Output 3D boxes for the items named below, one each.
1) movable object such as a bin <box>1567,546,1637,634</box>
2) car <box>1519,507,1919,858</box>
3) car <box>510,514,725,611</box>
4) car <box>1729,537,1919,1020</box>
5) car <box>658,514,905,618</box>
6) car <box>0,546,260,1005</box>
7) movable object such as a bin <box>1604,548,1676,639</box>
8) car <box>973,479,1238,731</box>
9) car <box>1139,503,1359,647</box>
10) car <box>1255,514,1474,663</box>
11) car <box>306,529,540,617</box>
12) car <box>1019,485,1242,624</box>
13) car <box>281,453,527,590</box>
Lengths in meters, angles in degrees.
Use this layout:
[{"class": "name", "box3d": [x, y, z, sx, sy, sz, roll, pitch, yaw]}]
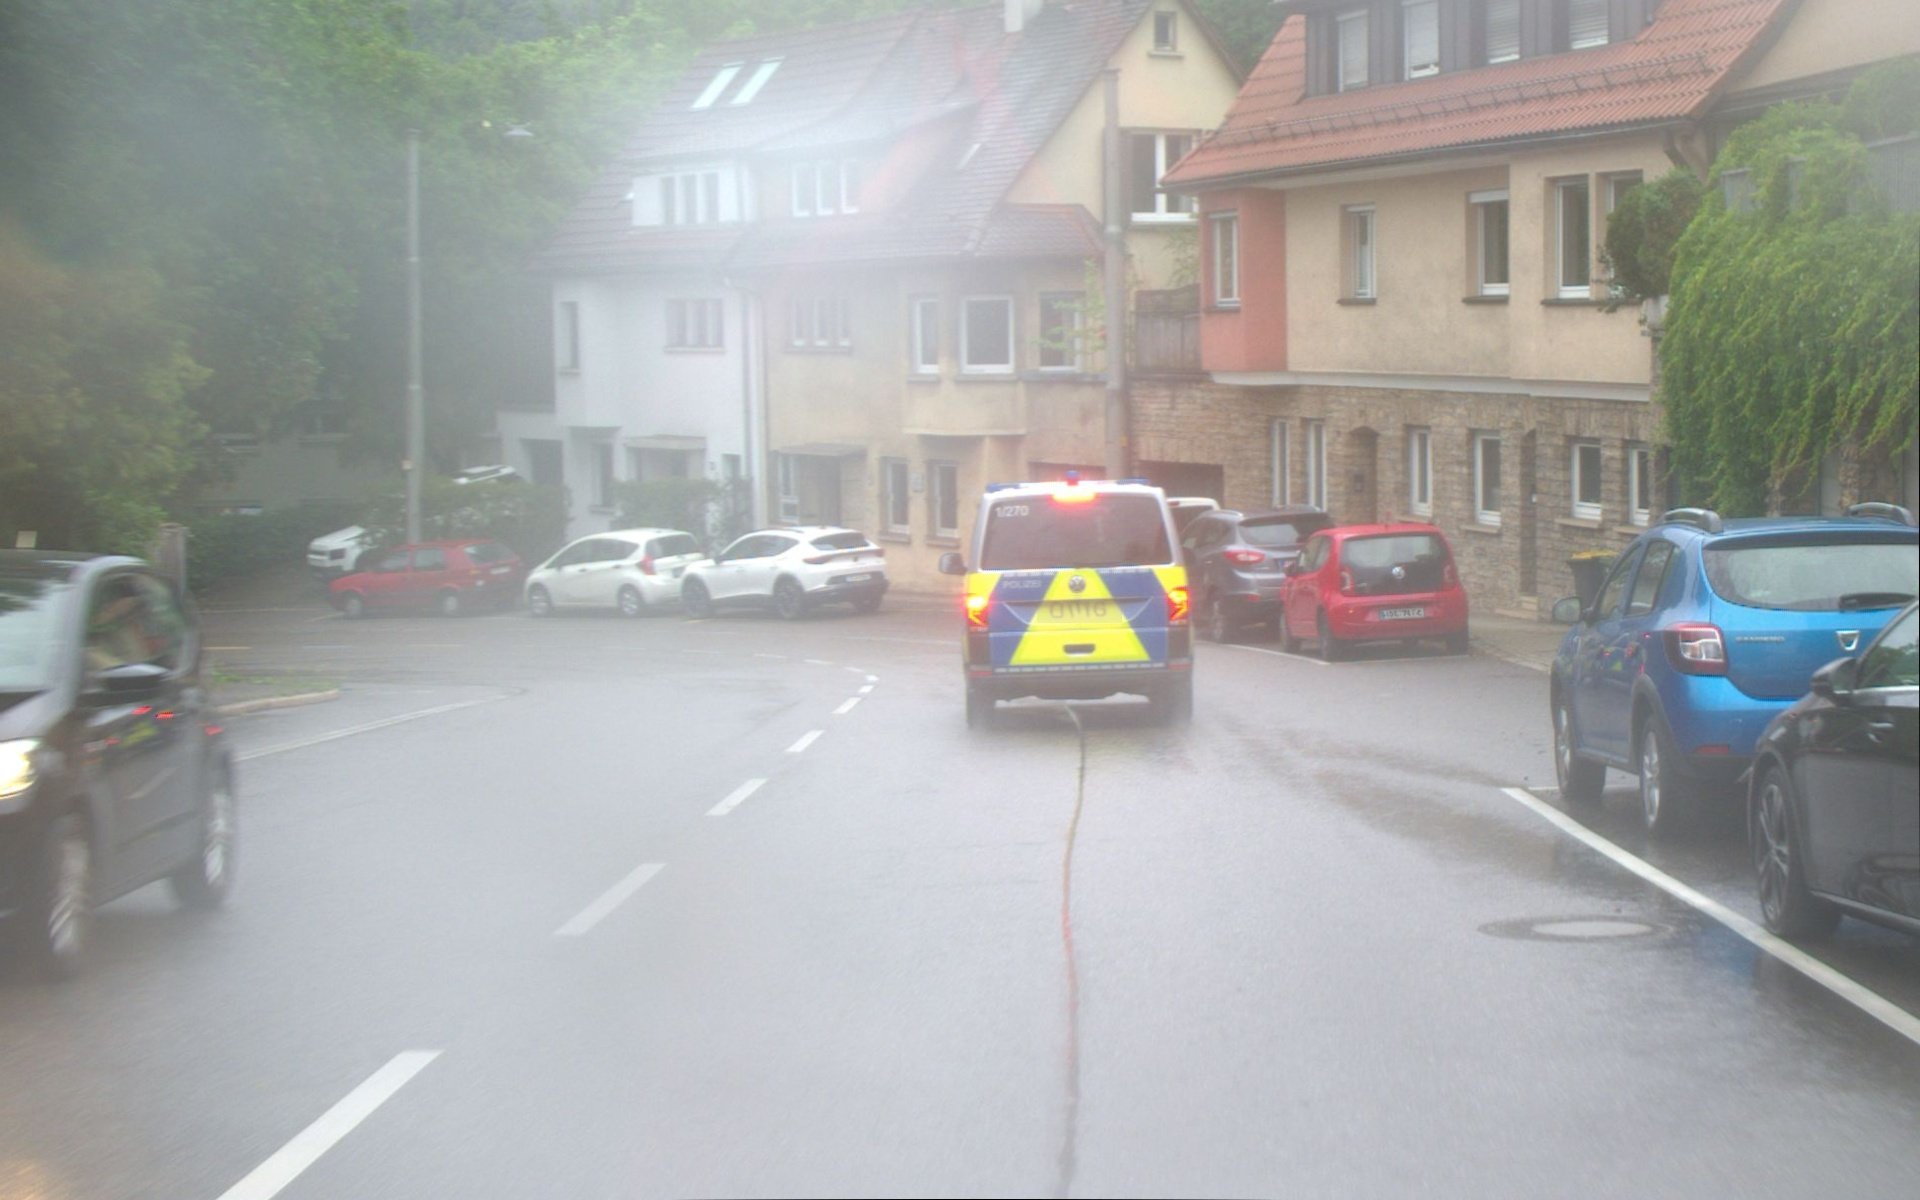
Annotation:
[{"class": "movable object such as a bin", "box3d": [7.193, -0.114, 38.534, 0.587, 0.920, 0.508, -5, 3, -4]}, {"class": "car", "box3d": [4.127, 0.330, 18.106, 1.733, 1.588, 4.254, -1, 2, 1]}, {"class": "car", "box3d": [-6.229, -0.674, 62.309, 1.766, 1.509, 3.820, -7, 4, -45]}, {"class": "car", "box3d": [3.828, 0.541, 11.349, 1.689, 1.450, 4.254, -1, 2, 1]}, {"class": "car", "box3d": [-3.087, -0.564, 58.798, 1.915, 1.533, 4.413, -7, 4, -38]}, {"class": "car", "box3d": [-3.795, 0.531, 12.958, 1.649, 1.415, 3.803, 1, 2, -2]}, {"class": "movable object such as a bin", "box3d": [7.454, -0.075, 37.688, 0.595, 0.920, 0.514, -5, 3, -4]}, {"class": "car", "box3d": [1.275, 0.024, 29.107, 1.994, 1.887, 4.569, -2, 0, 4]}, {"class": "car", "box3d": [3.683, -0.373, 44.539, 1.615, 1.599, 4.413, -5, 3, -10]}, {"class": "car", "box3d": [4.588, -0.169, 39.435, 1.615, 1.430, 3.582, -5, 3, -6]}, {"class": "car", "box3d": [-10.261, -0.511, 65.630, 4.190, 1.362, 1.783, -3, 4, 33]}, {"class": "car", "box3d": [2.399, -0.691, 49.578, 1.705, 1.784, 4.327, -5, 3, -17]}, {"class": "car", "box3d": [-11.636, -1.673, 72.012, 4.398, 1.835, 2.000, -16, 10, -27]}]
